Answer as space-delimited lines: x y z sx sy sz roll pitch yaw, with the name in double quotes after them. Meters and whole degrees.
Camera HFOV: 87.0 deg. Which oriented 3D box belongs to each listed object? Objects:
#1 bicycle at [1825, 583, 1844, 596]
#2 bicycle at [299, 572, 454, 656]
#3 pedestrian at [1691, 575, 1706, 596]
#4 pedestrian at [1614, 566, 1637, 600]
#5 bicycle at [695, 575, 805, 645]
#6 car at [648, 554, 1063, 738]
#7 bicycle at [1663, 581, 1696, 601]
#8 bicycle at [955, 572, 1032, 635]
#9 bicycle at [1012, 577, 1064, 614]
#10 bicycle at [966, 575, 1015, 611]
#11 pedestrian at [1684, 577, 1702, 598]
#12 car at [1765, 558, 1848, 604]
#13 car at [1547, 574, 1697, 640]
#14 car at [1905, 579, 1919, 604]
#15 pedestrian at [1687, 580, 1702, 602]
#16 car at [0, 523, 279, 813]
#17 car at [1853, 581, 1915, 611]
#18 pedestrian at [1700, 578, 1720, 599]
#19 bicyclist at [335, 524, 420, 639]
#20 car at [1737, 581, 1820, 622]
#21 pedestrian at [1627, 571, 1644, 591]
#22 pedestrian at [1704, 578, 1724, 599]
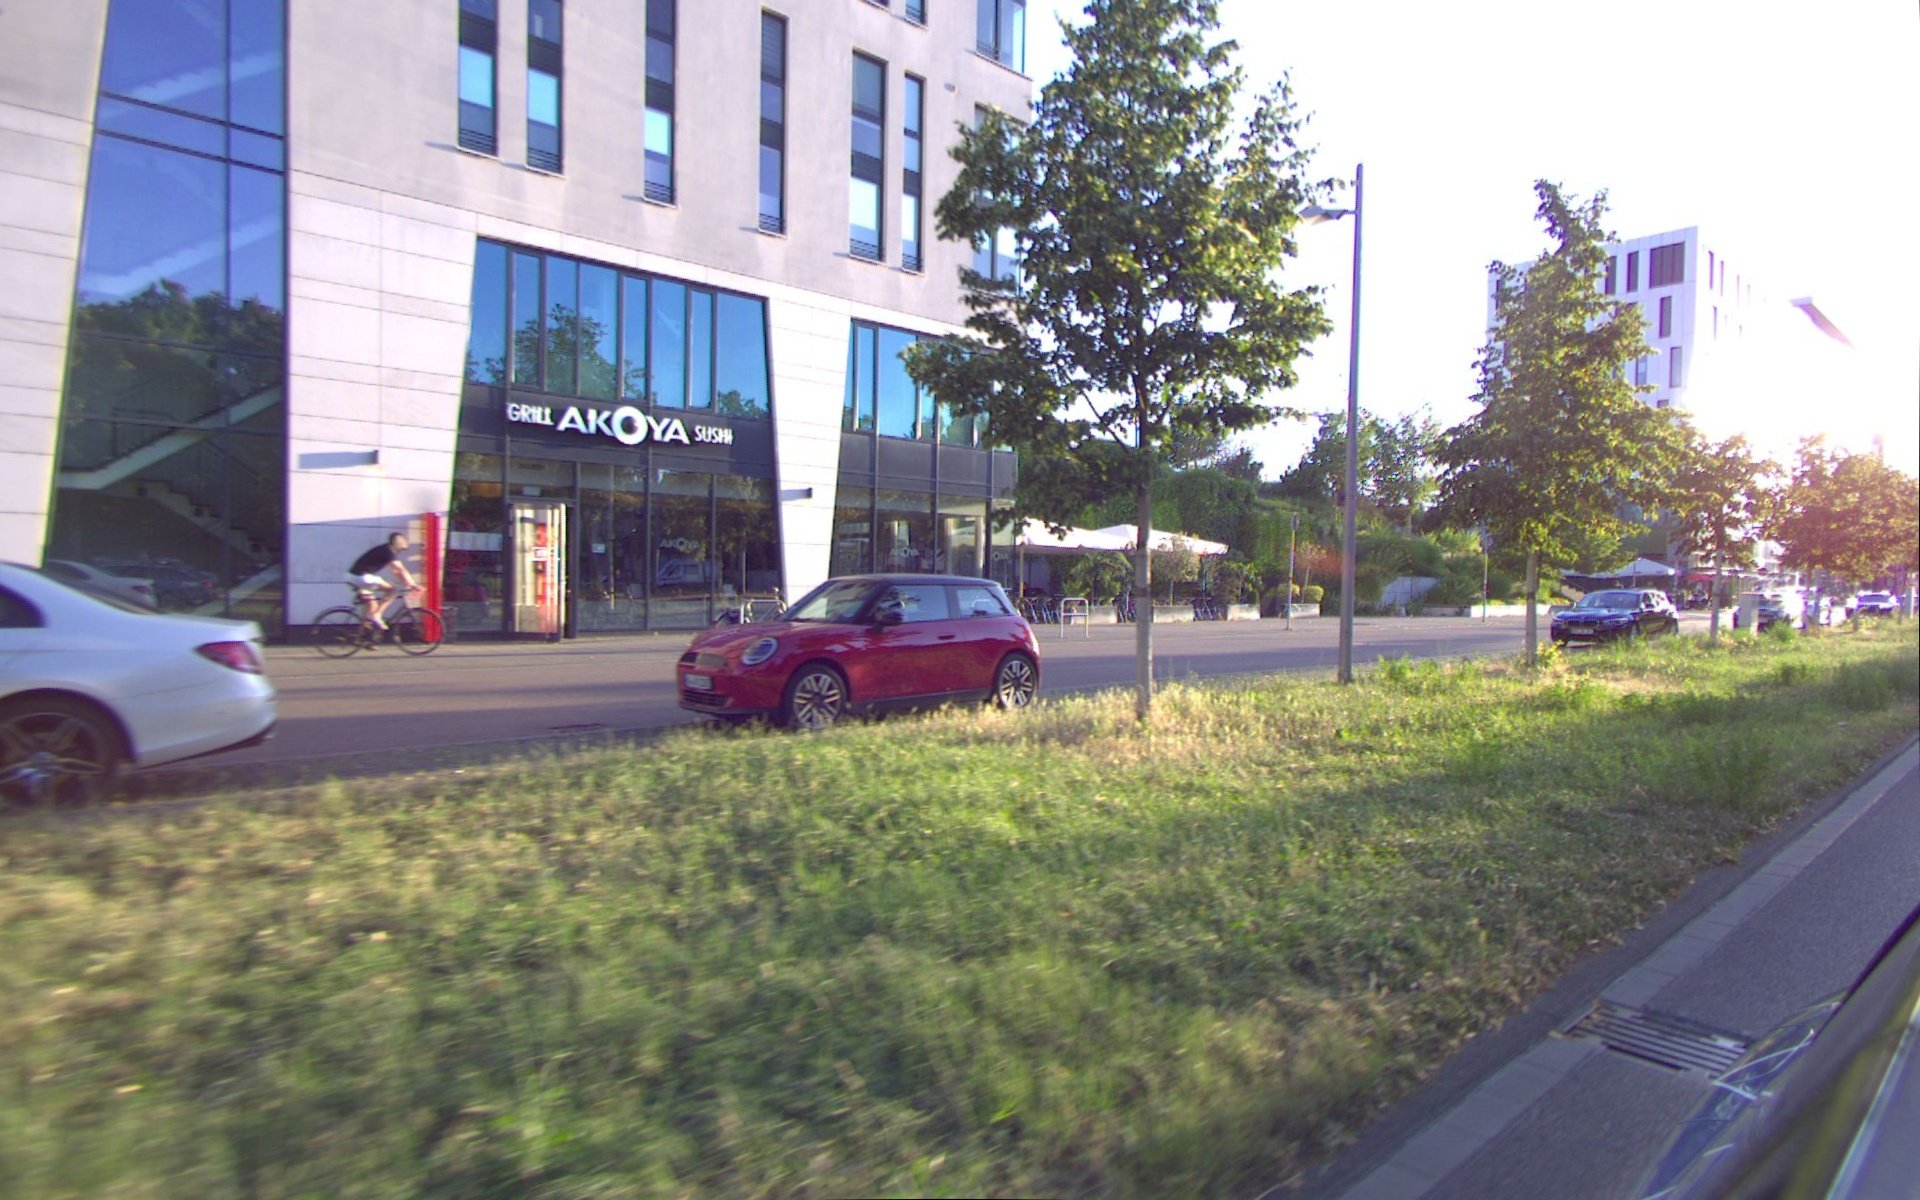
71.115 -0.843 82.281 1.879 1.053 0.532 1 3 -30 "bicycle"
-8.365 0.174 14.547 1.877 1.132 0.544 -1 2 -38 "bicycle"
47.982 -0.953 65.770 0.681 1.306 0.621 4 3 36 "pedestrian"
33.750 -0.871 51.352 1.060 1.675 0.696 0 1 -41 "pedestrian"
-3.604 0.147 17.490 1.837 1.142 0.547 -1 3 -43 "bicycle"
-0.944 0.336 10.322 3.891 1.519 1.811 -1 2 -42 "car"
39.862 -0.504 56.044 1.872 1.056 0.546 0 1 -21 "bicycle"
0.708 0.056 21.010 1.643 1.246 0.618 -1 2 -43 "bicycle"
2.464 -0.161 32.120 0.492 1.121 1.796 -1 2 -44 "bicycle"
0.987 -0.255 33.487 0.492 1.121 1.796 -1 2 -44 "bicycle"
47.293 -0.795 65.319 0.654 1.306 0.681 3 3 17 "pedestrian"
33.670 -0.728 40.219 4.595 1.653 1.810 -1 -2 -42 "car"
16.537 0.132 25.208 4.288 1.519 1.813 0 1 -38 "car"
61.180 -0.541 63.916 4.402 1.519 1.811 -1 2 -42 "car"
46.798 -0.582 64.466 0.741 1.385 0.760 2 1 38 "pedestrian"
-6.569 0.339 5.187 4.923 1.519 1.924 -1 2 -42 "car"
50.019 -0.225 54.757 5.318 1.519 1.923 -1 2 -42 "car"
47.784 -0.744 64.475 0.671 1.306 0.783 0 3 -34 "pedestrian"
-8.366 -0.270 14.542 1.001 1.588 0.546 0 1 -38 "bicyclist"
29.850 0.027 36.861 3.931 1.415 1.752 -1 1 -42 "car"
44.354 -1.233 66.452 0.757 1.281 0.744 0 2 -40 "pedestrian"
48.392 -0.753 64.976 0.671 1.306 0.778 0 3 -34 "pedestrian"
